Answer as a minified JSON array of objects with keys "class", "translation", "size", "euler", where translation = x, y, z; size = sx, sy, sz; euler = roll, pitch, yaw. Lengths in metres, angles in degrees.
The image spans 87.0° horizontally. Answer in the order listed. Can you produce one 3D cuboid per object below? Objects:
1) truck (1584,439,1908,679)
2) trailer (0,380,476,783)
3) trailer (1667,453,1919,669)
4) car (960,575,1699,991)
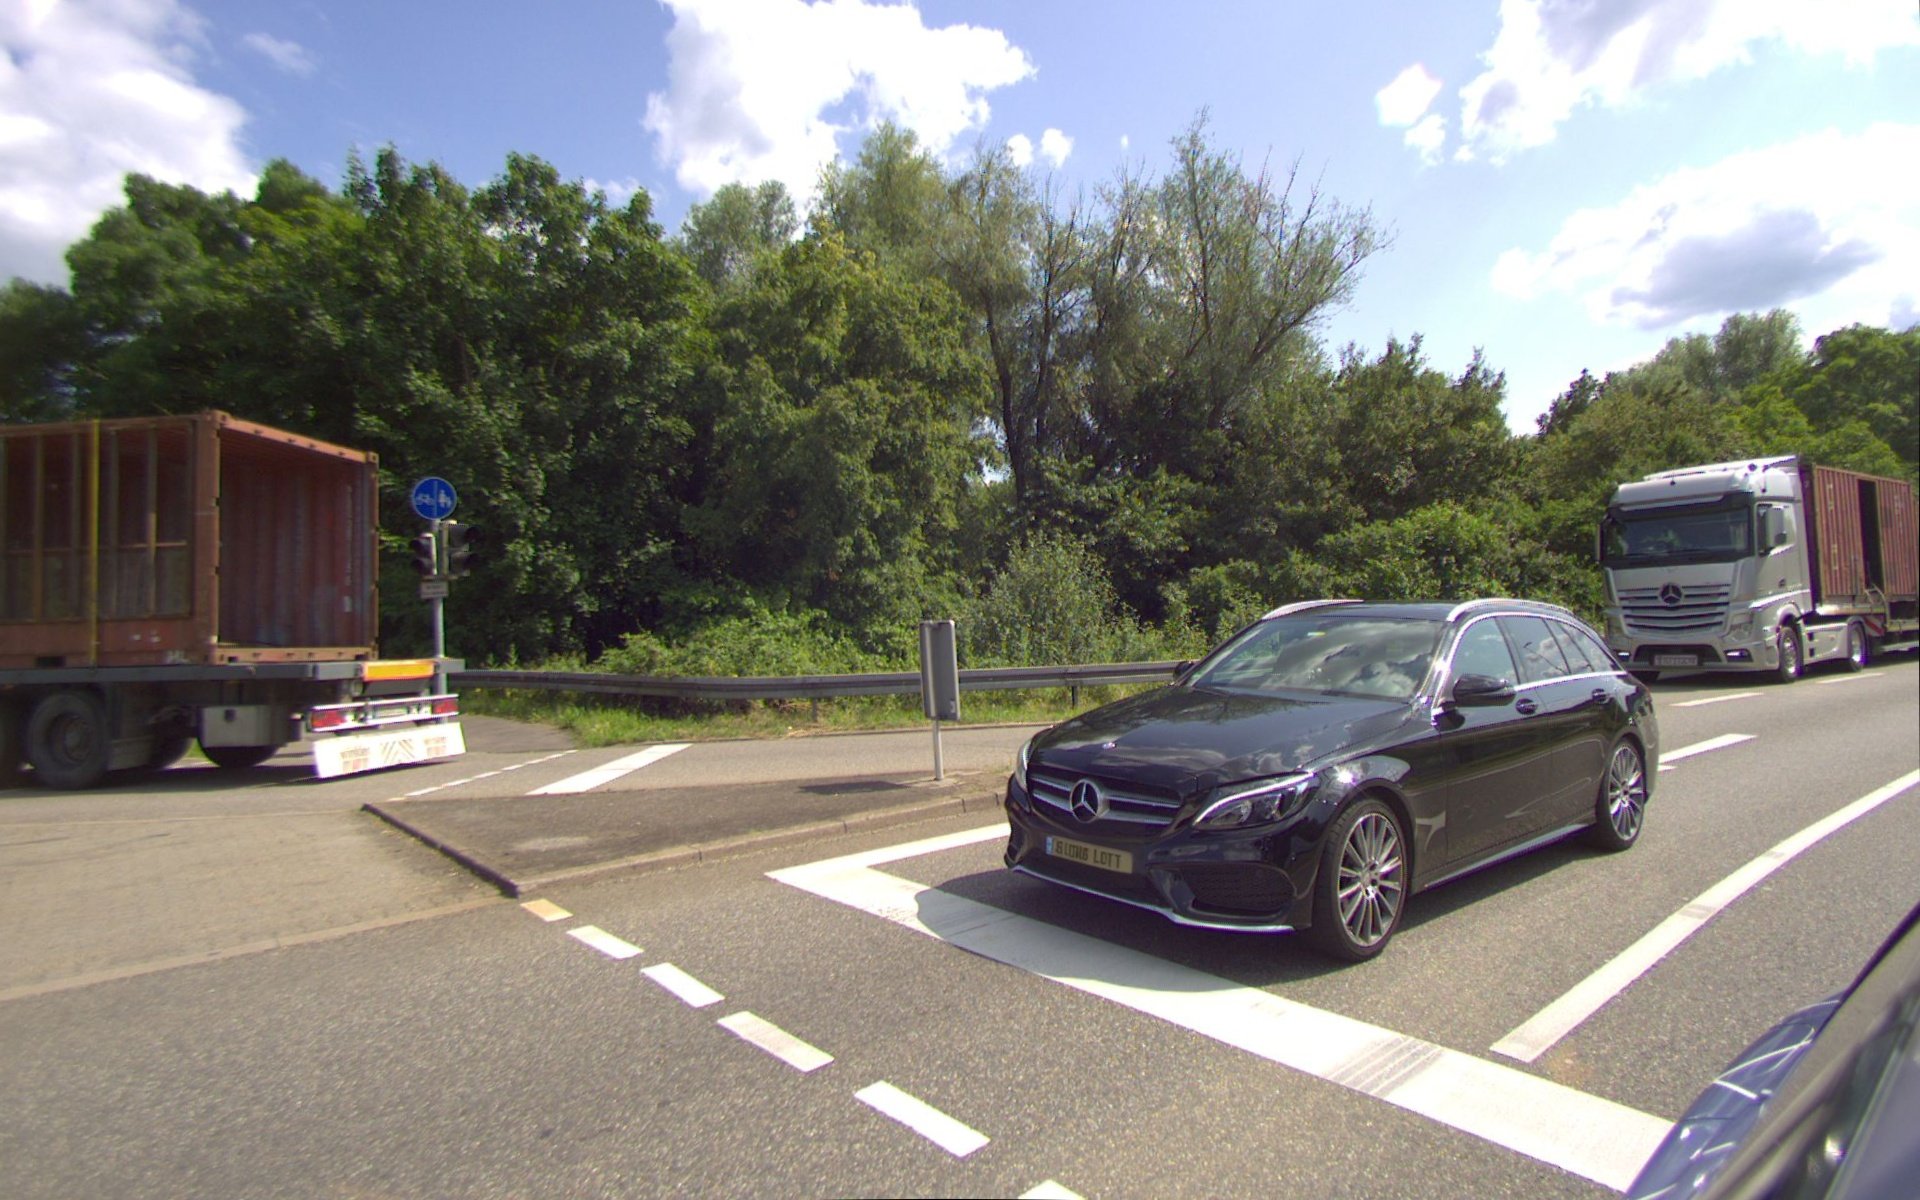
[{"class":"truck","translation":[15.165,-0.650,19.386],"size":[6.689,3.895,2.778],"euler":[-1,-2,-34]},{"class":"trailer","translation":[-13.038,0.154,12.309],"size":[13.610,3.942,2.641],"euler":[-3,-3,7]},{"class":"trailer","translation":[20.268,-0.743,22.813],"size":[12.084,3.900,2.780],"euler":[-1,-2,-34]},{"class":"car","translation":[2.250,0.629,5.587],"size":[4.289,1.454,1.795],"euler":[-1,-1,-38]}]
